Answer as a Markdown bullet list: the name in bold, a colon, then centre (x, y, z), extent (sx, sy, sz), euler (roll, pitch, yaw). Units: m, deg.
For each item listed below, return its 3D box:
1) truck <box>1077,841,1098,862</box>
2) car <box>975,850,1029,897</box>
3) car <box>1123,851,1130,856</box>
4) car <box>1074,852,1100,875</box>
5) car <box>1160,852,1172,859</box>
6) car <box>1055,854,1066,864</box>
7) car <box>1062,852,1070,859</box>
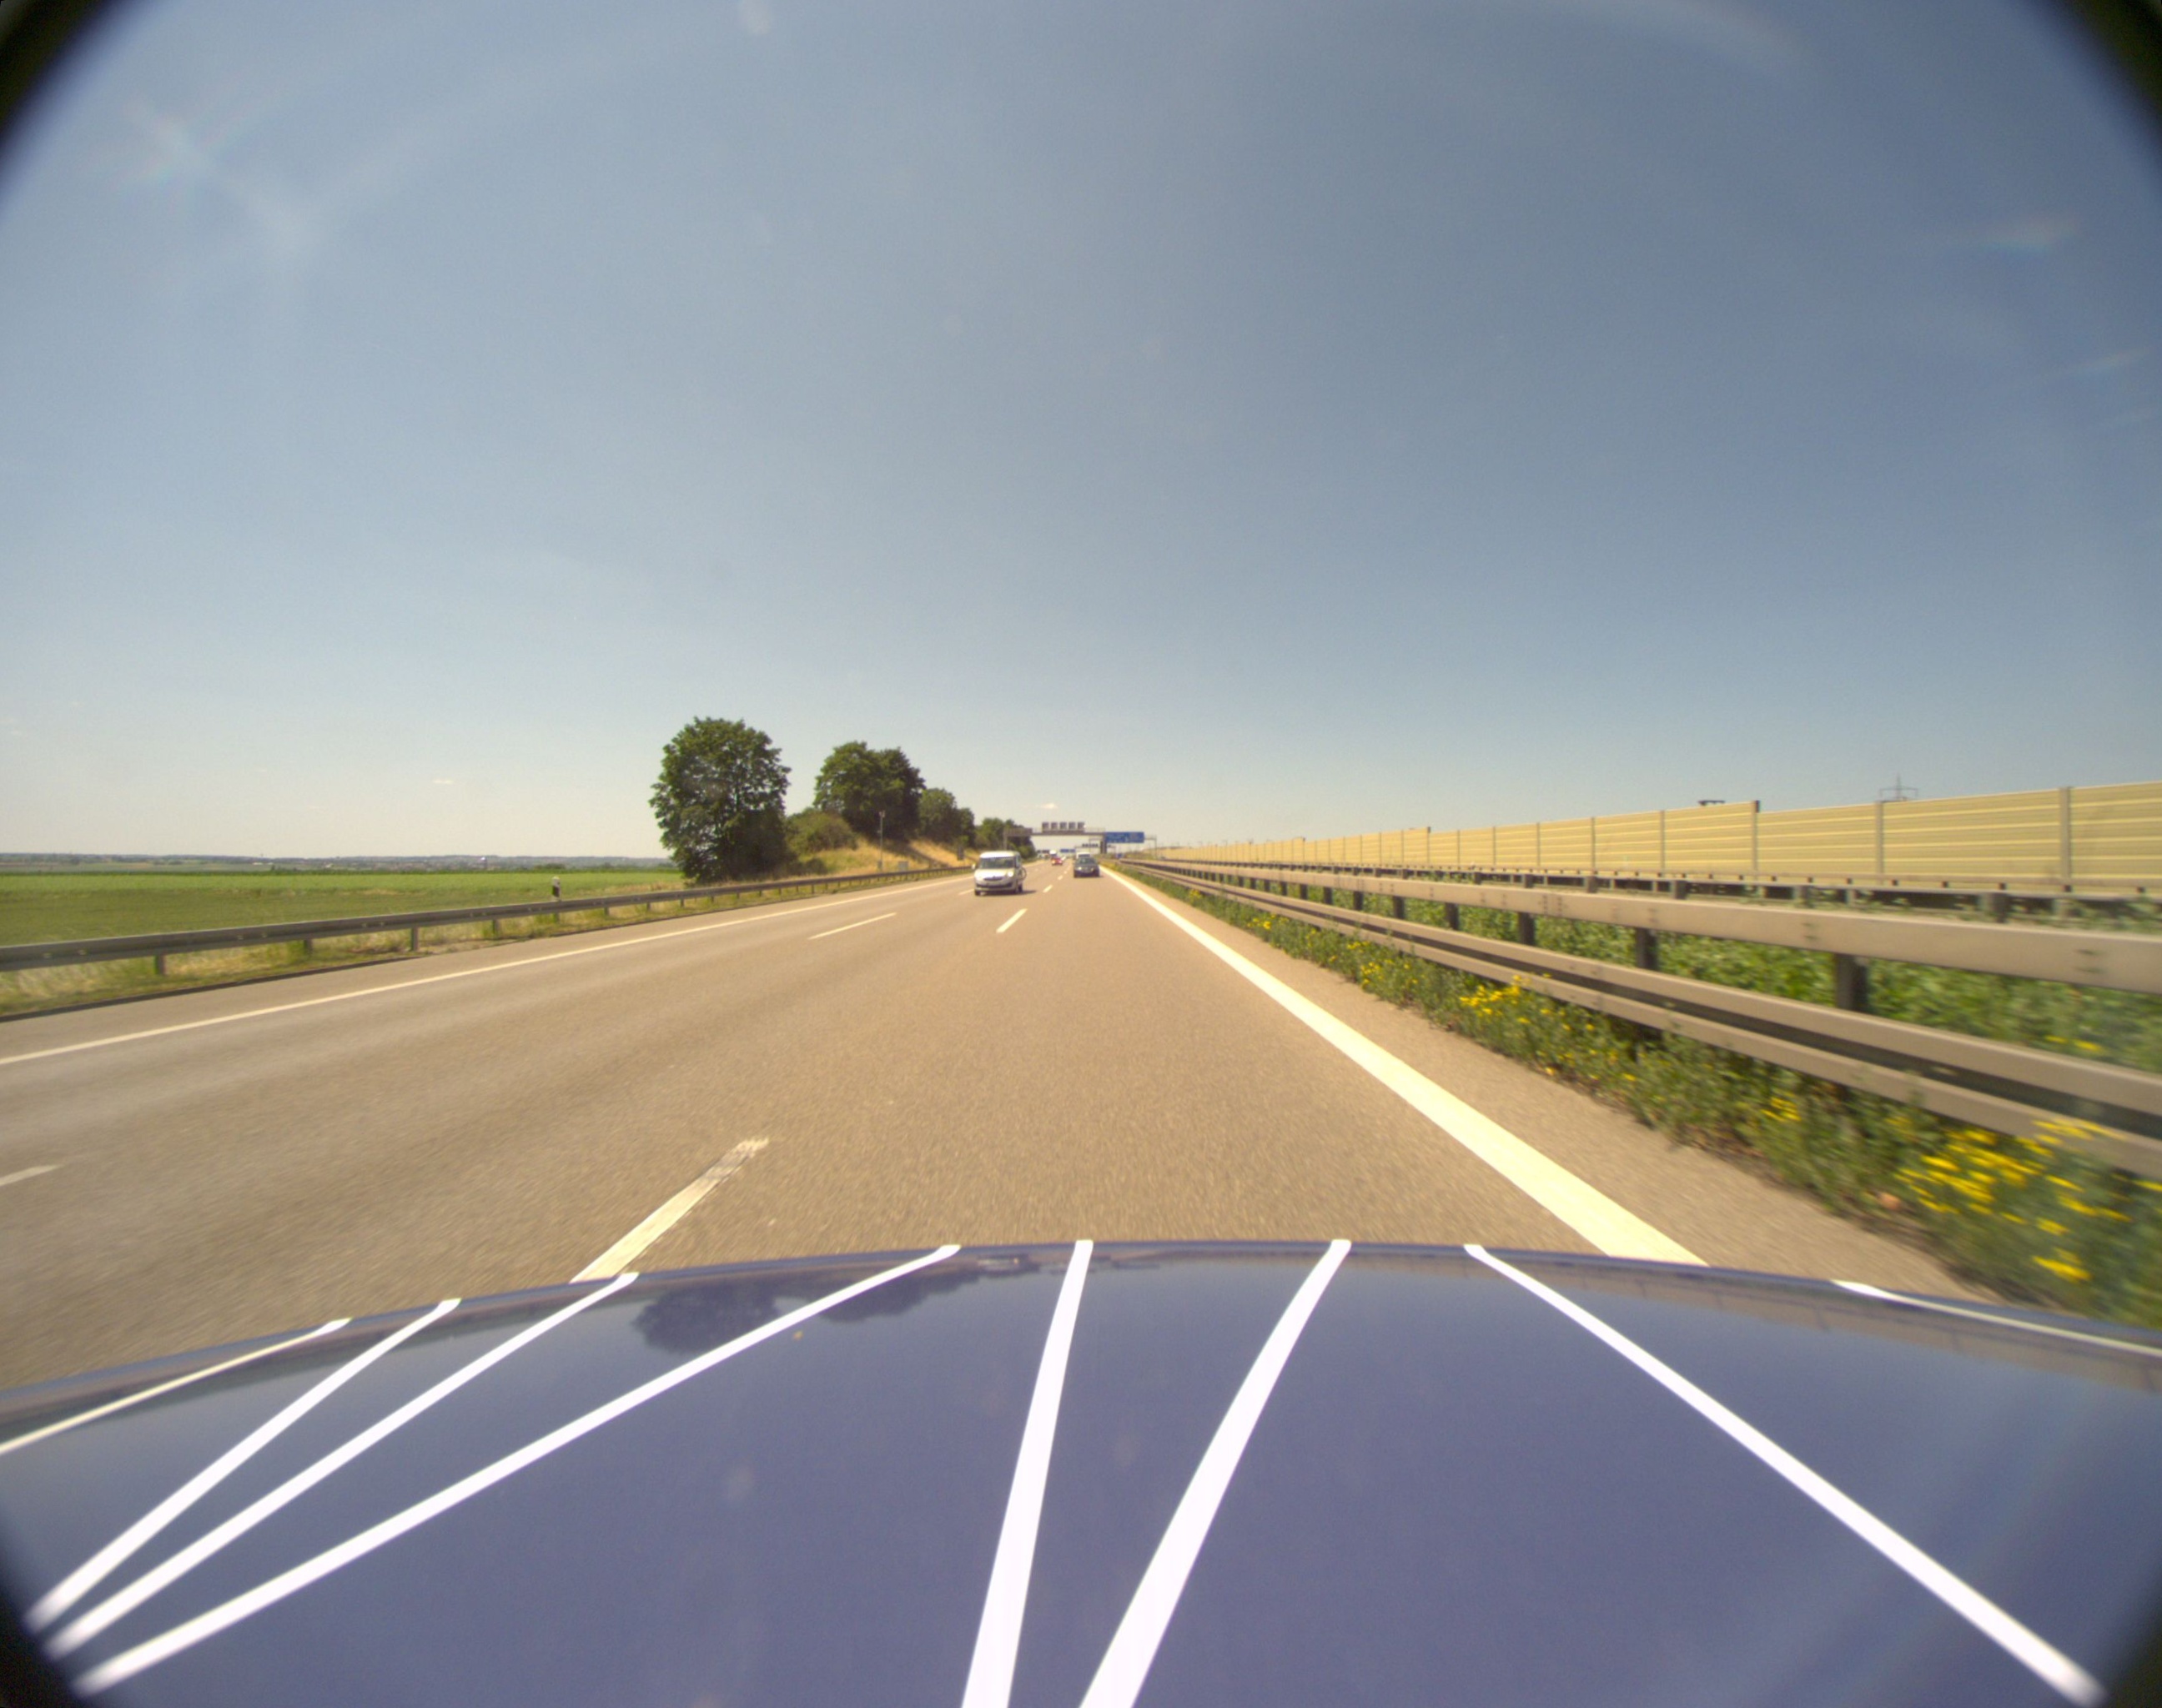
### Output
- **truck**: centre (0.767, -0.315, 92.524), extent (2.333, 2.378, 6.686), euler (-2, 1, -1)
- **car**: centre (-3.358, 0.776, 33.200), extent (1.812, 1.836, 5.311), euler (-2, 0, -1)
- **car**: centre (14.551, -0.313, 243.751), extent (1.901, 1.561, 5.246), euler (1, 0, 0)
- **car**: centre (0.396, 0.658, 53.769), extent (1.715, 1.586, 4.546), euler (0, 0, -1)
- **car**: centre (18.655, 0.324, 167.228), extent (1.998, 1.455, 4.813), euler (-1, 0, 0)
- **car**: centre (-3.364, 0.736, 124.445), extent (1.723, 1.514, 3.581), euler (-2, 1, -1)
- **car**: centre (-3.716, 0.416, 187.371), extent (1.723, 1.514, 3.581), euler (-2, 1, -1)
